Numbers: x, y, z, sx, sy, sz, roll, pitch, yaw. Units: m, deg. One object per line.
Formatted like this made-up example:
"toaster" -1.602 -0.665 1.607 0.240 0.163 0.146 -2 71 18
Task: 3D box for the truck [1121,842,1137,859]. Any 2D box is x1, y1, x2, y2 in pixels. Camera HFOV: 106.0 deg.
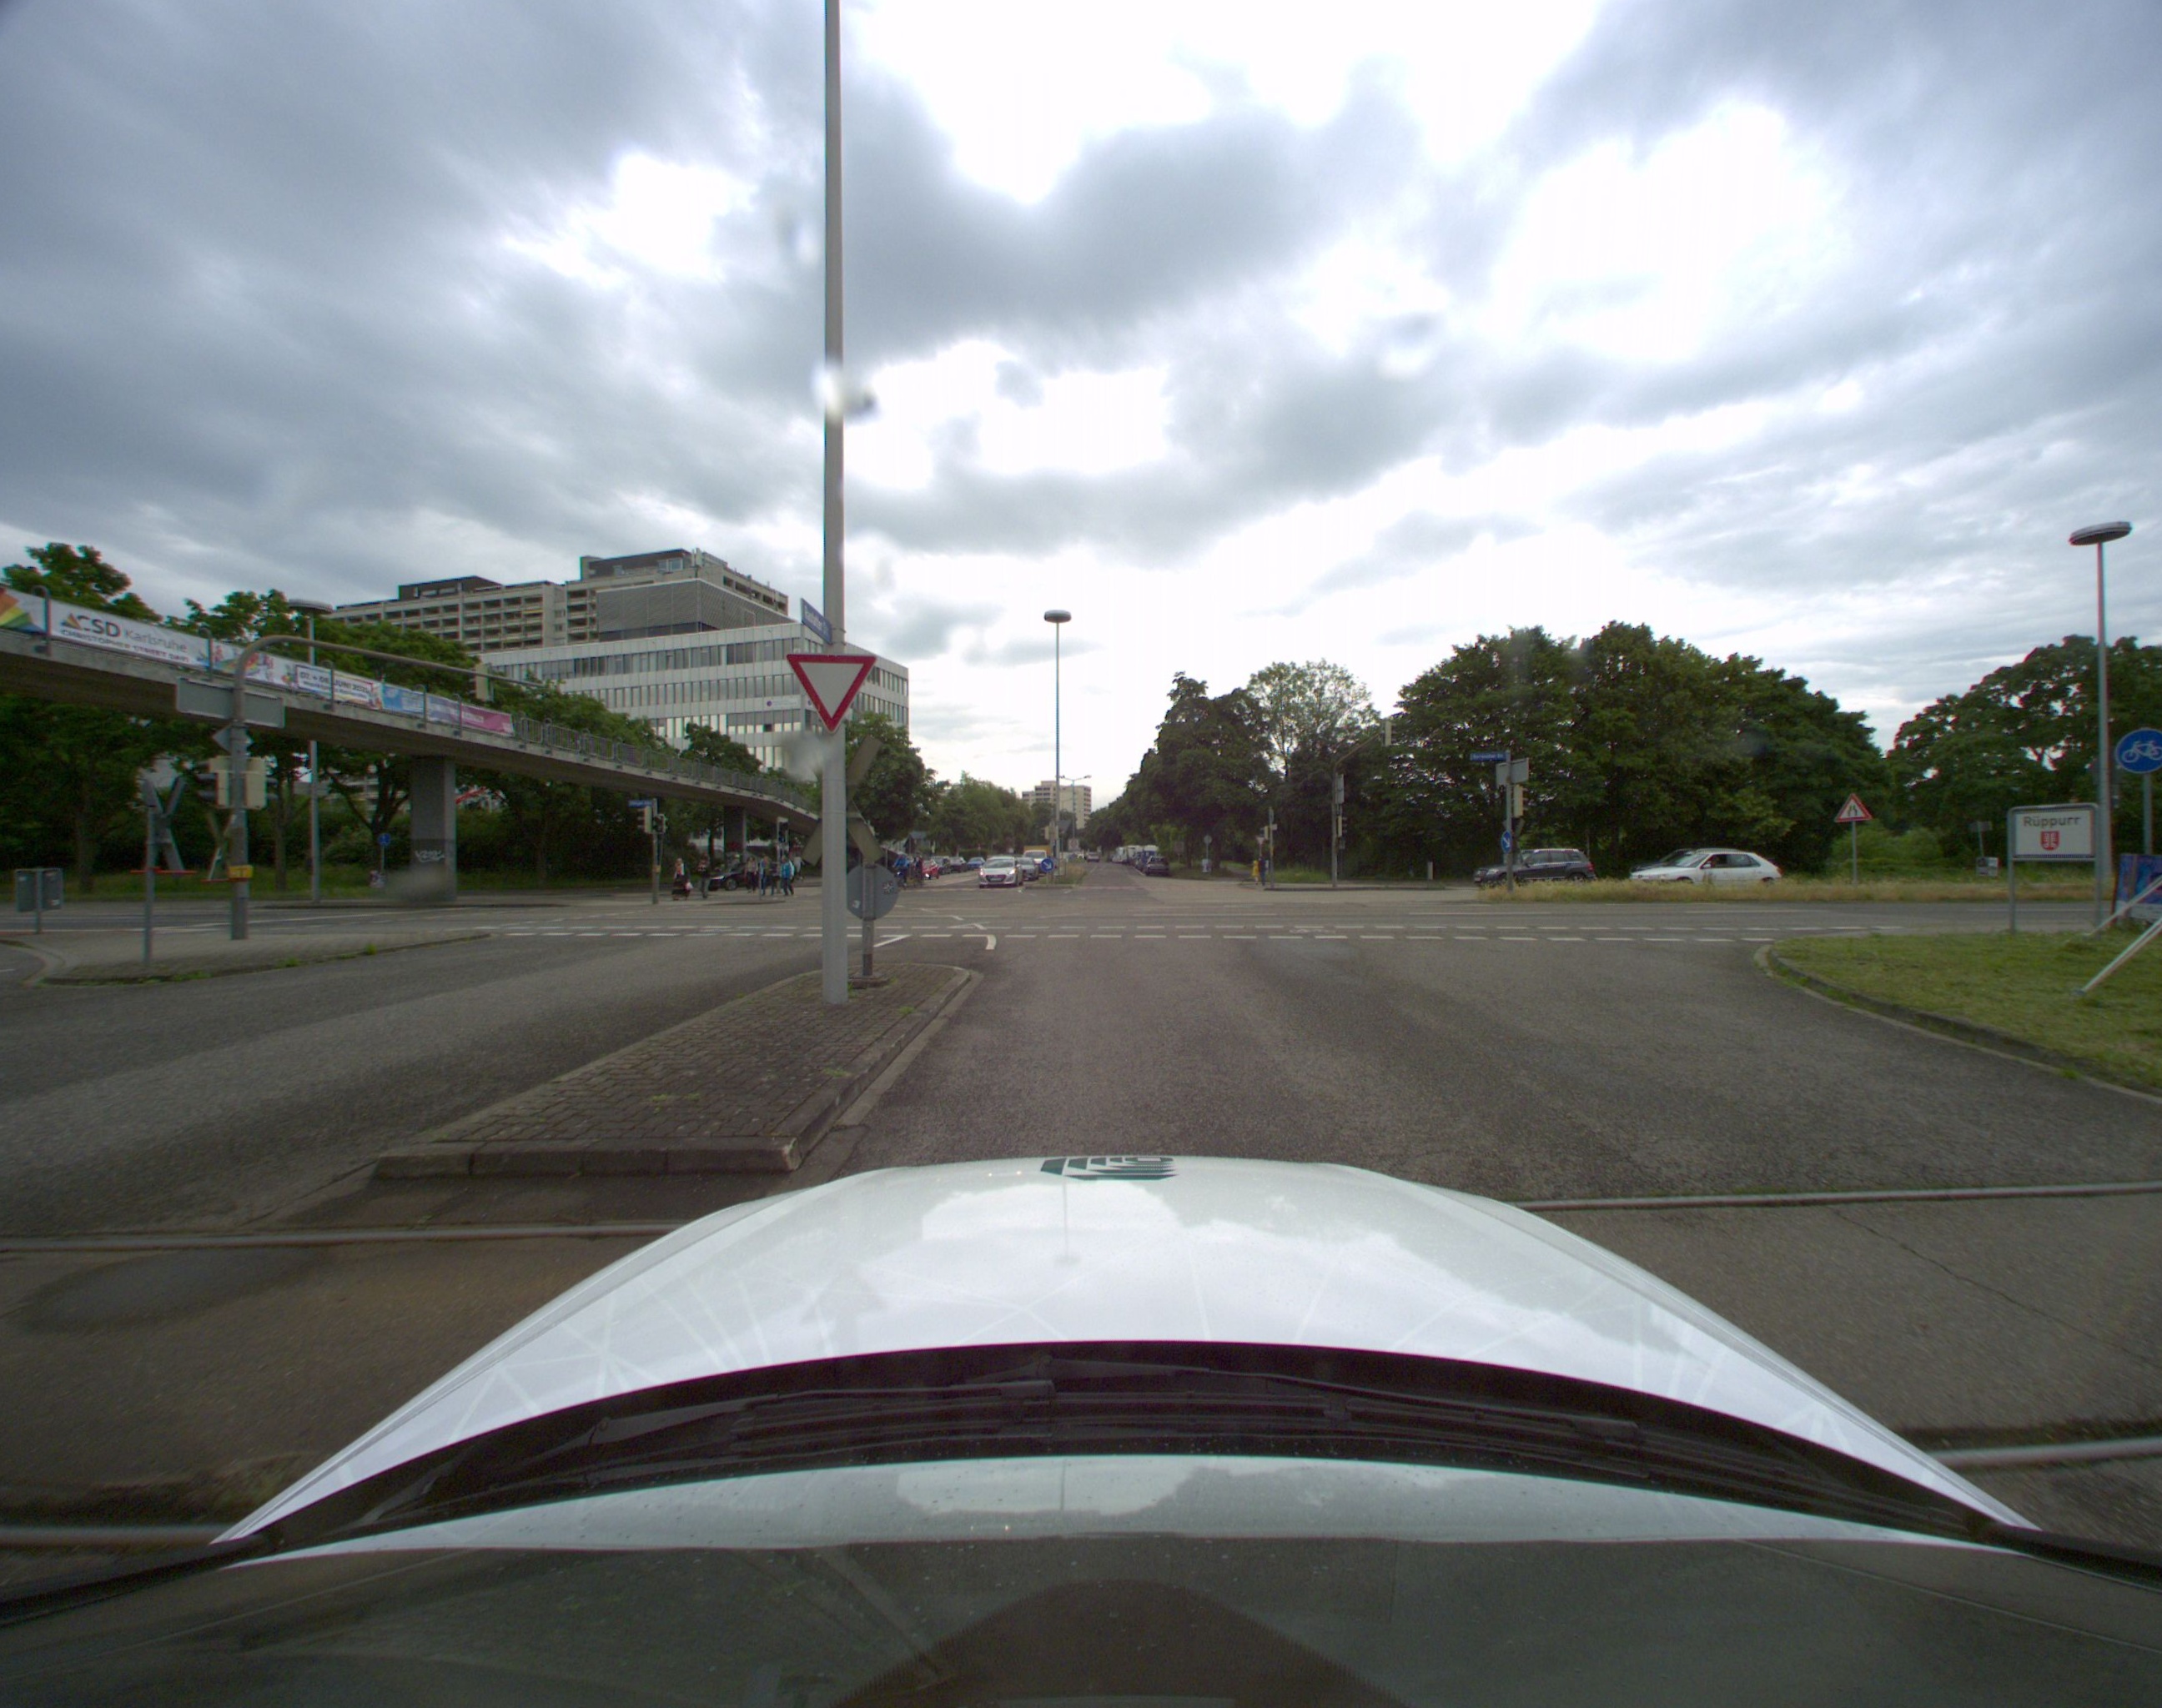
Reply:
"truck" 7.212 -0.517 122.565 1.988 2.573 5.374 -1 0 -2

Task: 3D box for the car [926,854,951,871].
"car" -13.703 0.830 78.635 1.666 1.552 3.762 -1 0 1

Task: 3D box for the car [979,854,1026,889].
"car" -3.726 0.838 39.252 1.783 1.519 4.324 -2 -1 0

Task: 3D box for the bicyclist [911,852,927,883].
"bicyclist" -8.437 0.691 42.397 0.677 1.594 0.695 -1 -1 -1

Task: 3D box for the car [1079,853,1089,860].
"car" 0.610 0.472 168.526 2.014 1.505 3.999 -1 0 0

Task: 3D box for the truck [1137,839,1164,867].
"truck" 6.867 -0.104 81.143 2.168 2.656 6.245 -1 0 0

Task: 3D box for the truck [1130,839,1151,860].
"truck" 8.044 -0.593 110.504 1.989 2.838 5.723 -1 0 -4

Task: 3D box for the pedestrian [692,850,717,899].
"pedestrian" -13.944 0.747 30.193 0.637 1.803 0.799 -1 0 -9

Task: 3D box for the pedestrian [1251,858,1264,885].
"pedestrian" 8.714 0.854 40.283 0.525 1.342 0.524 -1 0 -1

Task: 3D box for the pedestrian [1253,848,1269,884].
"pedestrian" 8.773 0.575 39.727 0.655 1.750 0.459 -1 0 -1

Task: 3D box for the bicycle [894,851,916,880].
"bicycle" -8.115 0.499 37.562 0.541 1.267 2.110 -1 0 0

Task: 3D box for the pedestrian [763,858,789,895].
"pedestrian" -12.697 0.940 33.884 0.918 1.511 0.402 -1 0 -12

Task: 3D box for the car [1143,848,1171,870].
"car" 5.988 0.373 64.335 1.778 1.662 3.999 -1 0 0

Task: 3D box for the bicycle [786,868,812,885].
"bicycle" -17.591 1.402 50.883 0.758 0.949 1.957 -1 0 6

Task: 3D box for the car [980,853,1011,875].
"car" -6.090 0.676 58.551 1.764 1.477 4.389 -1 0 0

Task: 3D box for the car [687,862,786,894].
"car" -17.540 1.192 41.654 1.651 1.508 4.426 -1 0 36

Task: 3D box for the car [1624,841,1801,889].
"car" 19.125 0.324 24.776 4.123 1.357 1.647 -1 0 0

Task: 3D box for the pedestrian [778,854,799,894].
"pedestrian" -12.077 0.810 33.627 0.686 1.605 0.487 -1 0 -5

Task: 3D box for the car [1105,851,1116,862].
"car" 5.410 0.393 149.212 1.648 1.918 3.913 -1 1 -4

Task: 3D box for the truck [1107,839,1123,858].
"truck" 5.518 -0.915 133.337 1.989 3.009 5.765 -1 0 -3

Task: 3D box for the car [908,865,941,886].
"car" -11.432 1.567 59.757 1.505 1.390 3.536 -1 0 3

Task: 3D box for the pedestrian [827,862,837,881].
"pedestrian" -16.790 1.187 54.934 0.498 1.270 0.459 -1 0 2

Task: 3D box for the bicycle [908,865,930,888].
"bicycle" -8.470 1.164 42.623 0.724 1.101 2.264 -1 0 0

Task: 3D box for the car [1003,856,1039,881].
"car" -3.696 0.881 50.756 1.891 1.420 4.735 -1 0 0

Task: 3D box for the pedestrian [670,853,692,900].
"pedestrian" -14.711 0.813 29.959 0.619 1.691 0.403 -1 0 -14

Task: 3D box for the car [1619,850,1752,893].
"car" 24.117 0.674 32.596 3.976 1.618 1.877 -1 0 -2

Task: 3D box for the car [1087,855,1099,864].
"car" 2.058 0.976 141.688 2.014 1.505 3.999 -1 0 0

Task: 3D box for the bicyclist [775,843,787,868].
"bicyclist" -19.754 0.078 53.548 0.563 1.644 0.531 -1 -1 0

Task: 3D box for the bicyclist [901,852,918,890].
"bicyclist" -8.053 0.784 38.241 0.642 1.768 0.647 -1 0 0

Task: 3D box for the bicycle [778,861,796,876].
"bicycle" -19.560 0.955 54.133 0.524 0.949 1.709 -1 0 1

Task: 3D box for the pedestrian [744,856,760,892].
"pedestrian" -14.720 0.877 36.437 0.580 1.579 0.777 -1 0 -19

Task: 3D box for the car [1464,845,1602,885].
"car" 17.859 0.422 32.321 4.450 1.504 1.846 -1 0 0

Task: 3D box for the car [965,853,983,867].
"car" -12.960 0.708 98.963 1.666 1.552 4.000 -1 0 1

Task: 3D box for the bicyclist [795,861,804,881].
"bicyclist" -17.474 1.056 50.487 0.403 1.181 0.377 -1 1 2

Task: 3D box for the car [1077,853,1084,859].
"car" -0.145 0.612 217.459 2.014 1.505 3.999 -1 0 0

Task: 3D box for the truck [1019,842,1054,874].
"truck" -3.264 0.263 60.612 2.148 2.199 5.841 -1 0 1
